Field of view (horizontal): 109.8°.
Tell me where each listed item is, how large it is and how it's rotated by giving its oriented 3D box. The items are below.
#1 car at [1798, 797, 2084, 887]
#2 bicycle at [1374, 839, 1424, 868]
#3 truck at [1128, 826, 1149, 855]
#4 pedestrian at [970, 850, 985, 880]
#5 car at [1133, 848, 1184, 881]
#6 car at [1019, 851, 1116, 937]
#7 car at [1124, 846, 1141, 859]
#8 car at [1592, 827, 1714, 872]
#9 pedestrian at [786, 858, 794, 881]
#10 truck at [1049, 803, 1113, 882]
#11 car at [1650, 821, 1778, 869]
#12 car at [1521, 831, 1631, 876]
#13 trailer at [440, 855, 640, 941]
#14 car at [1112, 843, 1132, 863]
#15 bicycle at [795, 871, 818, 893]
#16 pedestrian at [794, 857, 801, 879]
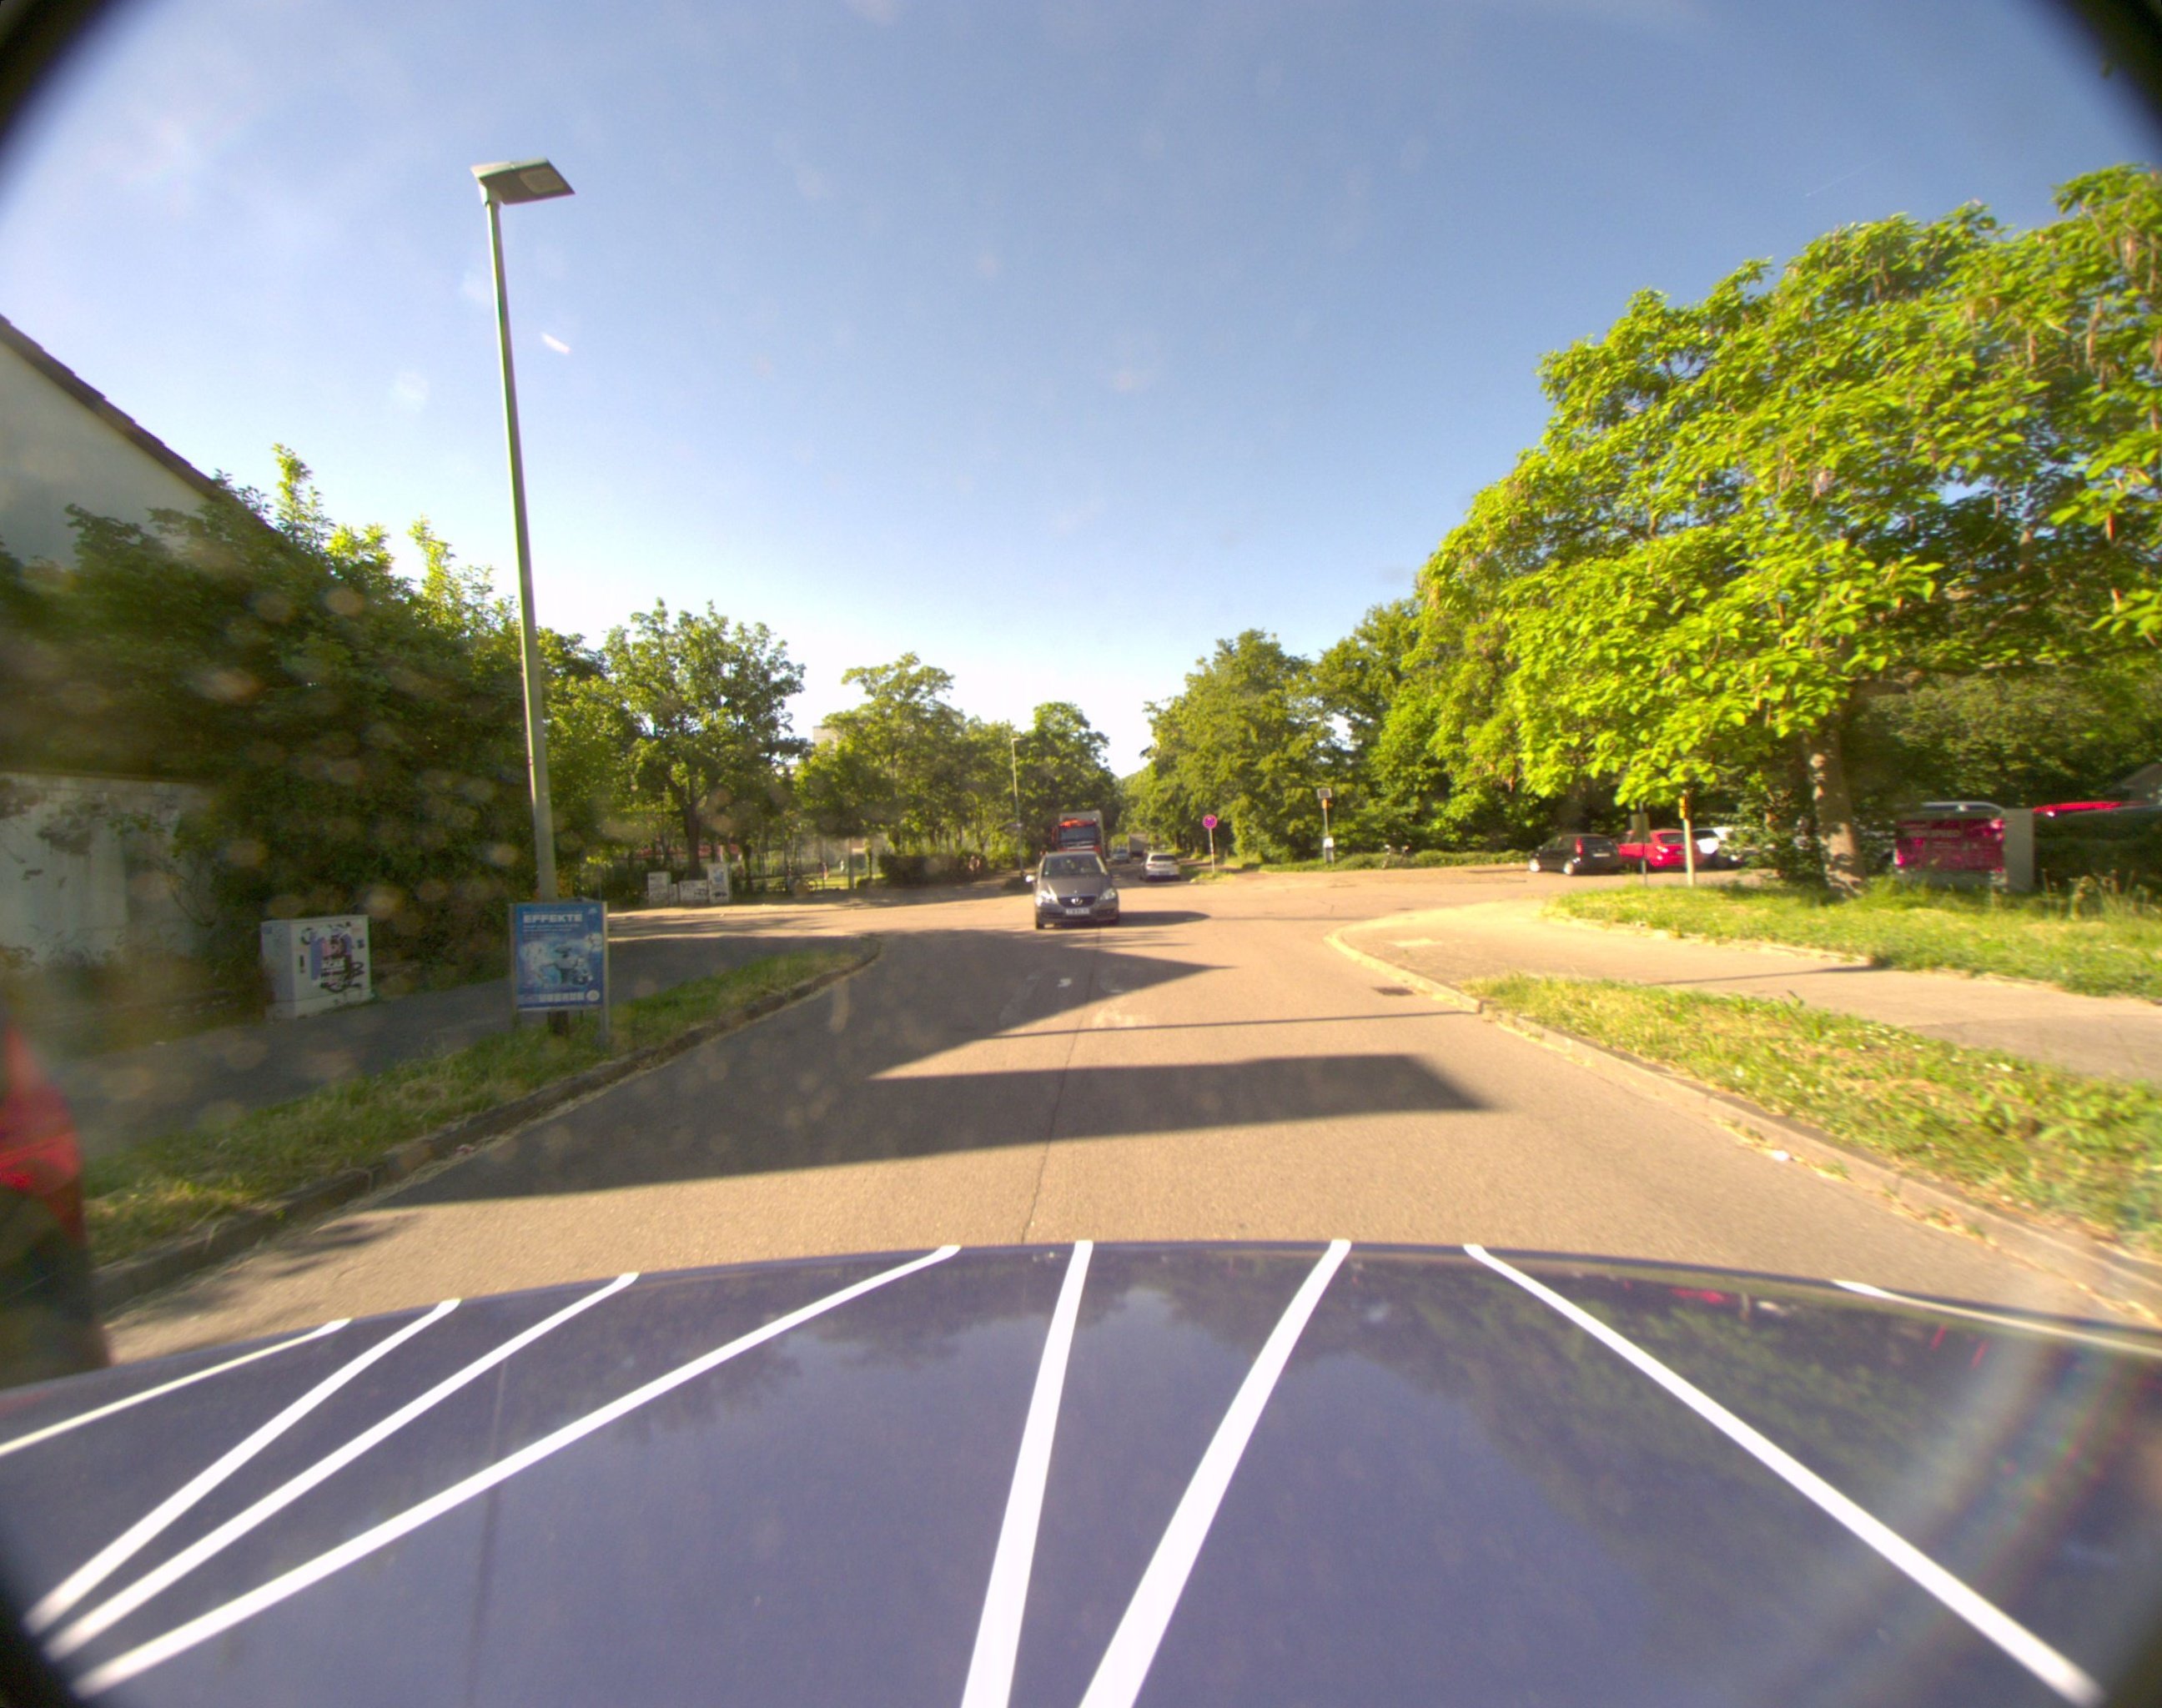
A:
[{"bbox_3d":[21.176,-0.267,18.920,4.460,1.957,2.070,-2,0,6],"label":"car"},{"bbox_3d":[13.917,-0.010,33.306,1.902,1.146,0.760,-2,4,13],"label":"bicycle"},{"bbox_3d":[8.460,-2.086,112.306,2.802,3.996,9.625,-1,2,4],"label":"truck"},{"bbox_3d":[-5.846,0.628,42.800,0.641,1.629,0.641,-2,1,6],"label":"pedestrian"},{"bbox_3d":[3.831,0.493,38.032,1.666,1.458,4.185,-1,2,-6],"label":"car"},{"bbox_3d":[-0.179,0.800,17.087,1.854,1.635,3.756,-3,0,3],"label":"car"},{"bbox_3d":[6.728,-0.172,98.964,1.998,1.576,4.000,-3,1,2],"label":"car"},{"bbox_3d":[20.963,-0.207,28.064,1.674,1.479,3.884,-2,2,3],"label":"car"},{"bbox_3d":[-20.019,1.072,52.272,0.320,1.527,0.393,-3,1,-1],"label":"pedestrian"},{"bbox_3d":[0.233,-0.735,48.123,3.165,4.320,10.585,-3,1,4],"label":"truck"},{"bbox_3d":[23.619,-0.383,28.543,1.674,1.594,3.884,-2,2,3],"label":"car"},{"bbox_3d":[18.270,-0.075,28.247,1.674,1.479,3.884,-2,2,3],"label":"car"},{"bbox_3d":[-14.813,1.176,20.980,4.071,2.107,1.979,-2,0,3],"label":"trailer"},{"bbox_3d":[4.093,-0.096,75.503,1.844,1.795,4.029,-3,1,3],"label":"car"},{"bbox_3d":[-12.353,1.259,34.205,0.909,0.953,0.294,-3,1,-45],"label":"bicycle"},{"bbox_3d":[-20.615,1.010,55.202,0.317,1.527,0.402,-3,1,-1],"label":"pedestrian"}]
